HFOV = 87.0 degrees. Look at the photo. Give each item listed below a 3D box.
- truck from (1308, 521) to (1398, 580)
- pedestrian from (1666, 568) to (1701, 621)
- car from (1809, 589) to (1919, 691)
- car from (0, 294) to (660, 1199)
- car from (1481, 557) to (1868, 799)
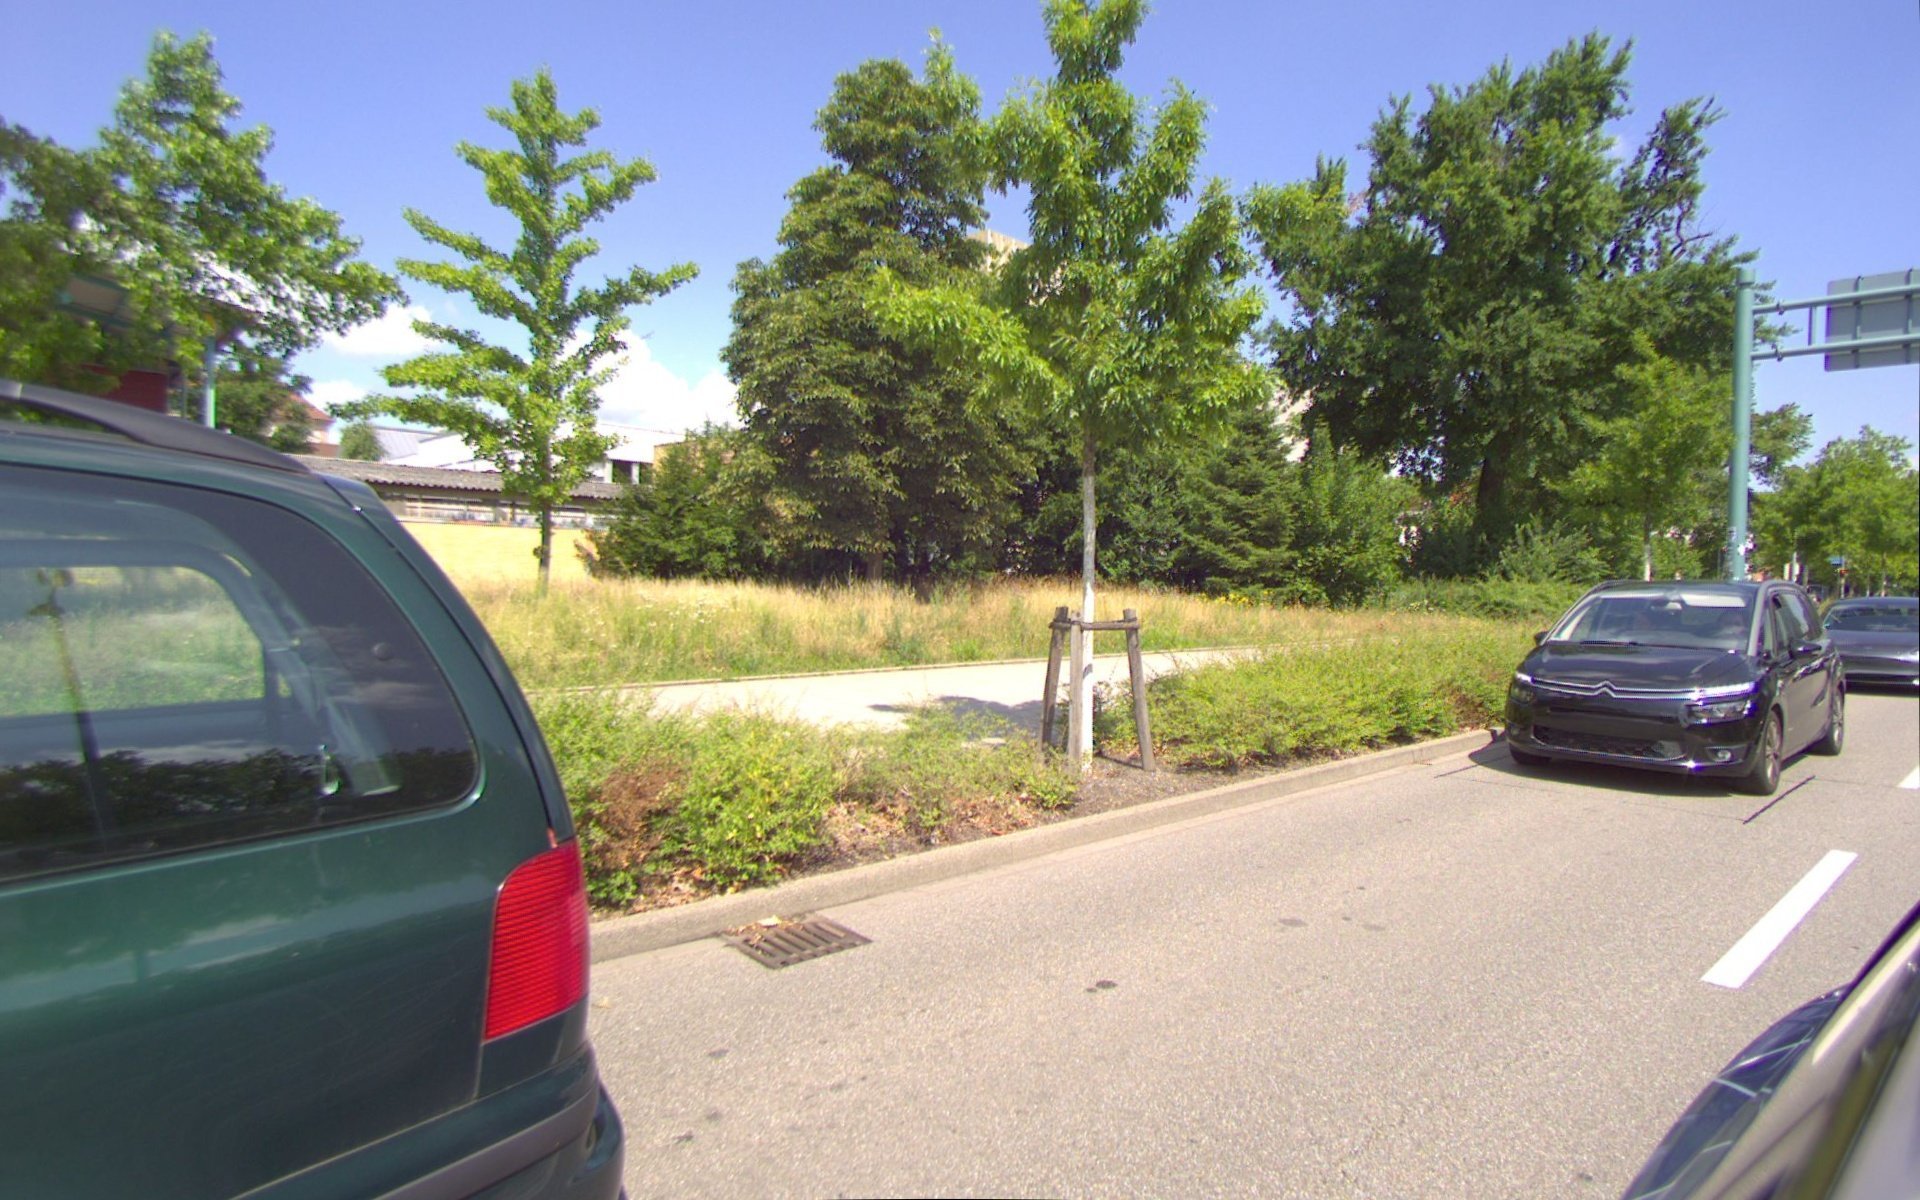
[{"bbox_3d":[21.812,-2.646,55.985,2.092,3.060,7.012,0,1,44],"label":"truck"},{"bbox_3d":[24.889,-0.192,34.818,0.827,1.787,0.843,-1,1,-42],"label":"pedestrian"},{"bbox_3d":[14.926,0.566,16.047,4.290,1.435,1.763,0,0,-43],"label":"car"},{"bbox_3d":[-2.689,0.545,0.810,4.371,1.745,1.797,0,0,-42],"label":"car"},{"bbox_3d":[6.534,0.531,9.052,4.442,1.643,1.861,0,0,-41],"label":"car"}]
